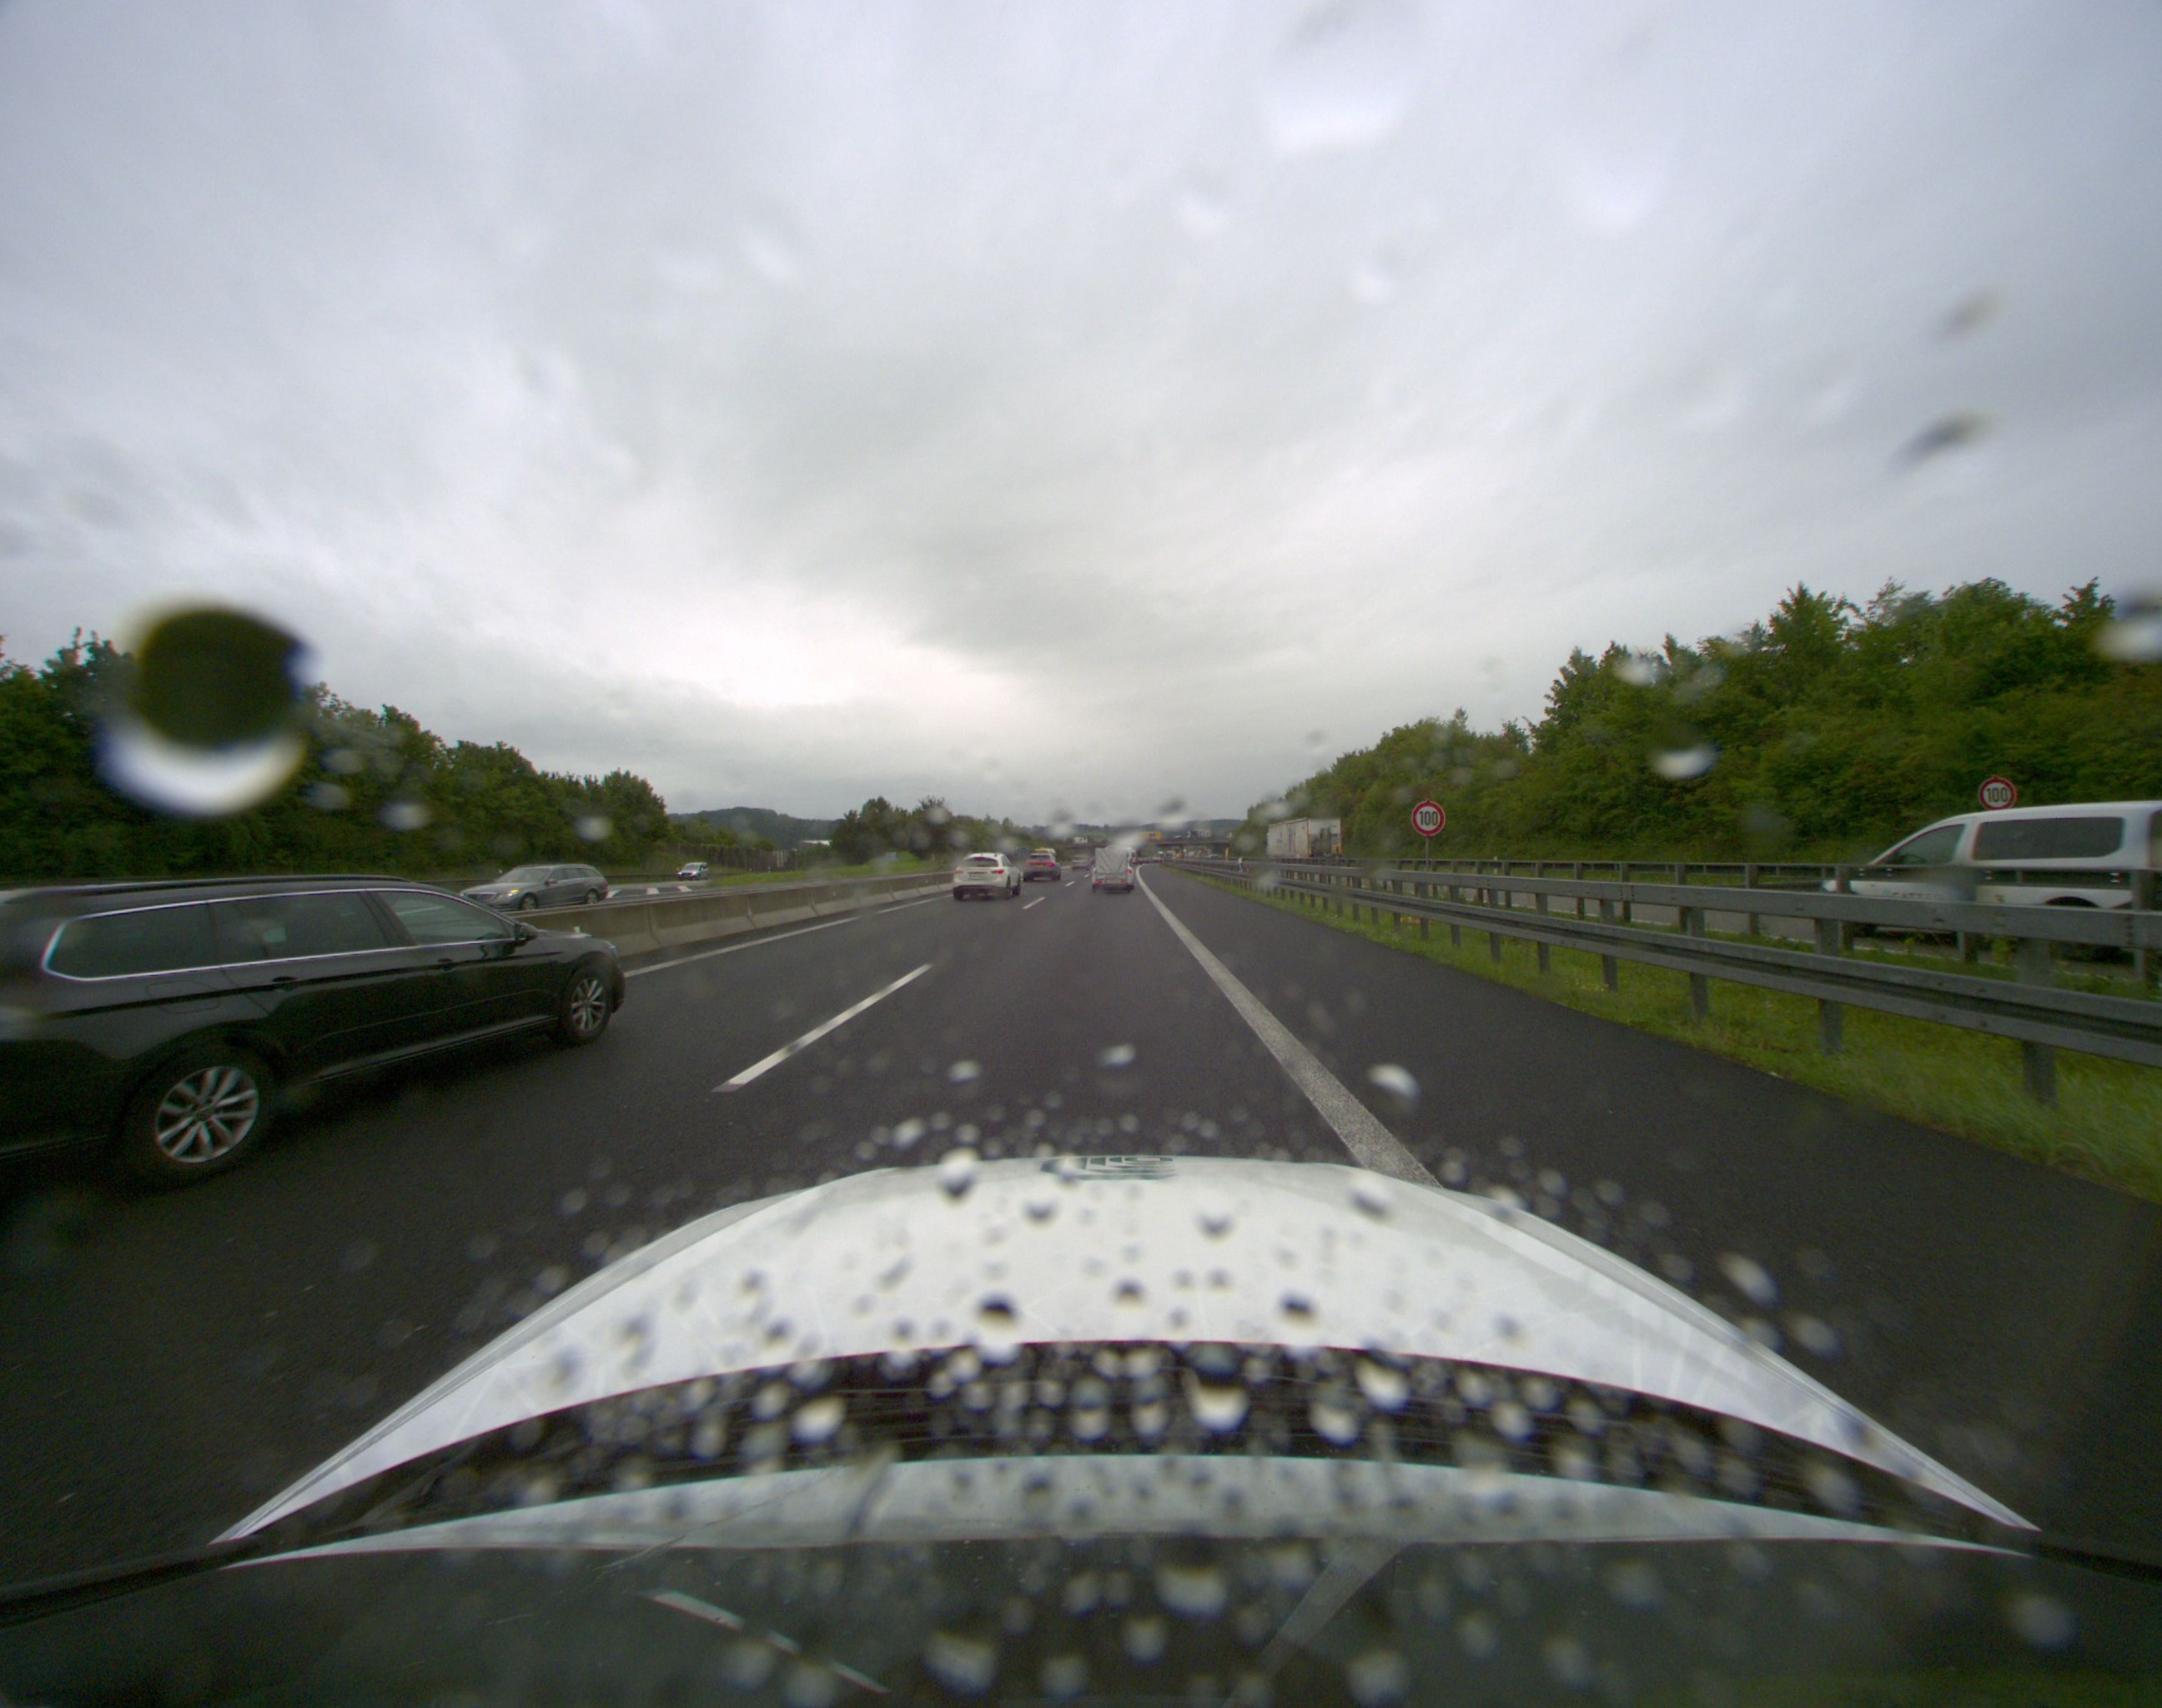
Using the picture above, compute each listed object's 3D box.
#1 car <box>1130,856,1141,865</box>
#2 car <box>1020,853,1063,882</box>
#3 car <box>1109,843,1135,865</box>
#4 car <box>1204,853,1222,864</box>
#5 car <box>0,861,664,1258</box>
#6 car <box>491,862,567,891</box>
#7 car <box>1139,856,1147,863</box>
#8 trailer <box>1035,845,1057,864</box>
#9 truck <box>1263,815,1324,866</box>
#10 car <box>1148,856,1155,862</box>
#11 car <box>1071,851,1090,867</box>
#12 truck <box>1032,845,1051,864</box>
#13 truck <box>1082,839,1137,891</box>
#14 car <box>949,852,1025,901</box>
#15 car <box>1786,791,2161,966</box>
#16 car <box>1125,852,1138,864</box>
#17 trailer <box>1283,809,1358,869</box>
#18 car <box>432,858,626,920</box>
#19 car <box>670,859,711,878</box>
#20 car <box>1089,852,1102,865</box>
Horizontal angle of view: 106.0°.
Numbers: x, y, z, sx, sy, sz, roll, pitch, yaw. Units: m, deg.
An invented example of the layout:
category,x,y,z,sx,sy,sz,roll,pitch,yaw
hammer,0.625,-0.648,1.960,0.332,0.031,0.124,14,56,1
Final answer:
category,x,y,z,sx,sy,sz,roll,pitch,yaw
car,10.476,1.226,157.080,1.987,1.750,4.000,0,0,0
car,-2.376,0.802,50.075,2.165,1.631,4.503,-1,0,2
car,5.177,0.009,102.097,3.002,2.616,6.083,-1,0,5
car,17.770,0.550,109.865,1.852,1.447,4.160,-1,0,2
car,-4.967,0.818,5.187,1.892,1.497,4.855,-1,0,3
car,-35.537,1.401,52.596,2.178,1.695,4.616,-1,0,-7
car,16.052,1.347,210.721,1.984,1.750,4.005,0,0,4
trailer,-6.589,0.155,156.415,2.748,3.398,11.462,0,0,5
truck,19.259,-1.135,74.575,3.422,4.289,10.427,-1,0,3
car,20.670,1.434,238.559,1.984,1.750,4.006,0,0,5
car,-0.055,0.533,88.798,1.893,1.613,4.019,-1,0,2
truck,-7.173,0.124,149.662,2.748,3.398,5.853,0,0,5
truck,1.355,0.430,35.525,2.010,1.985,7.222,-1,0,5
car,-3.342,0.766,29.848,1.967,1.639,4.505,-1,0,4
car,12.033,0.239,10.515,1.853,1.805,4.648,-1,0,0
car,8.619,0.664,138.284,1.987,2.036,4.152,0,0,0
trailer,18.592,-1.091,64.125,3.422,4.289,10.464,-1,0,4
car,-17.148,1.010,25.733,2.169,1.695,5.258,-1,0,5
car,-38.857,1.414,81.199,2.177,1.695,4.559,-1,0,-6
car,2.090,0.694,118.759,1.835,1.819,4.002,-1,0,2
